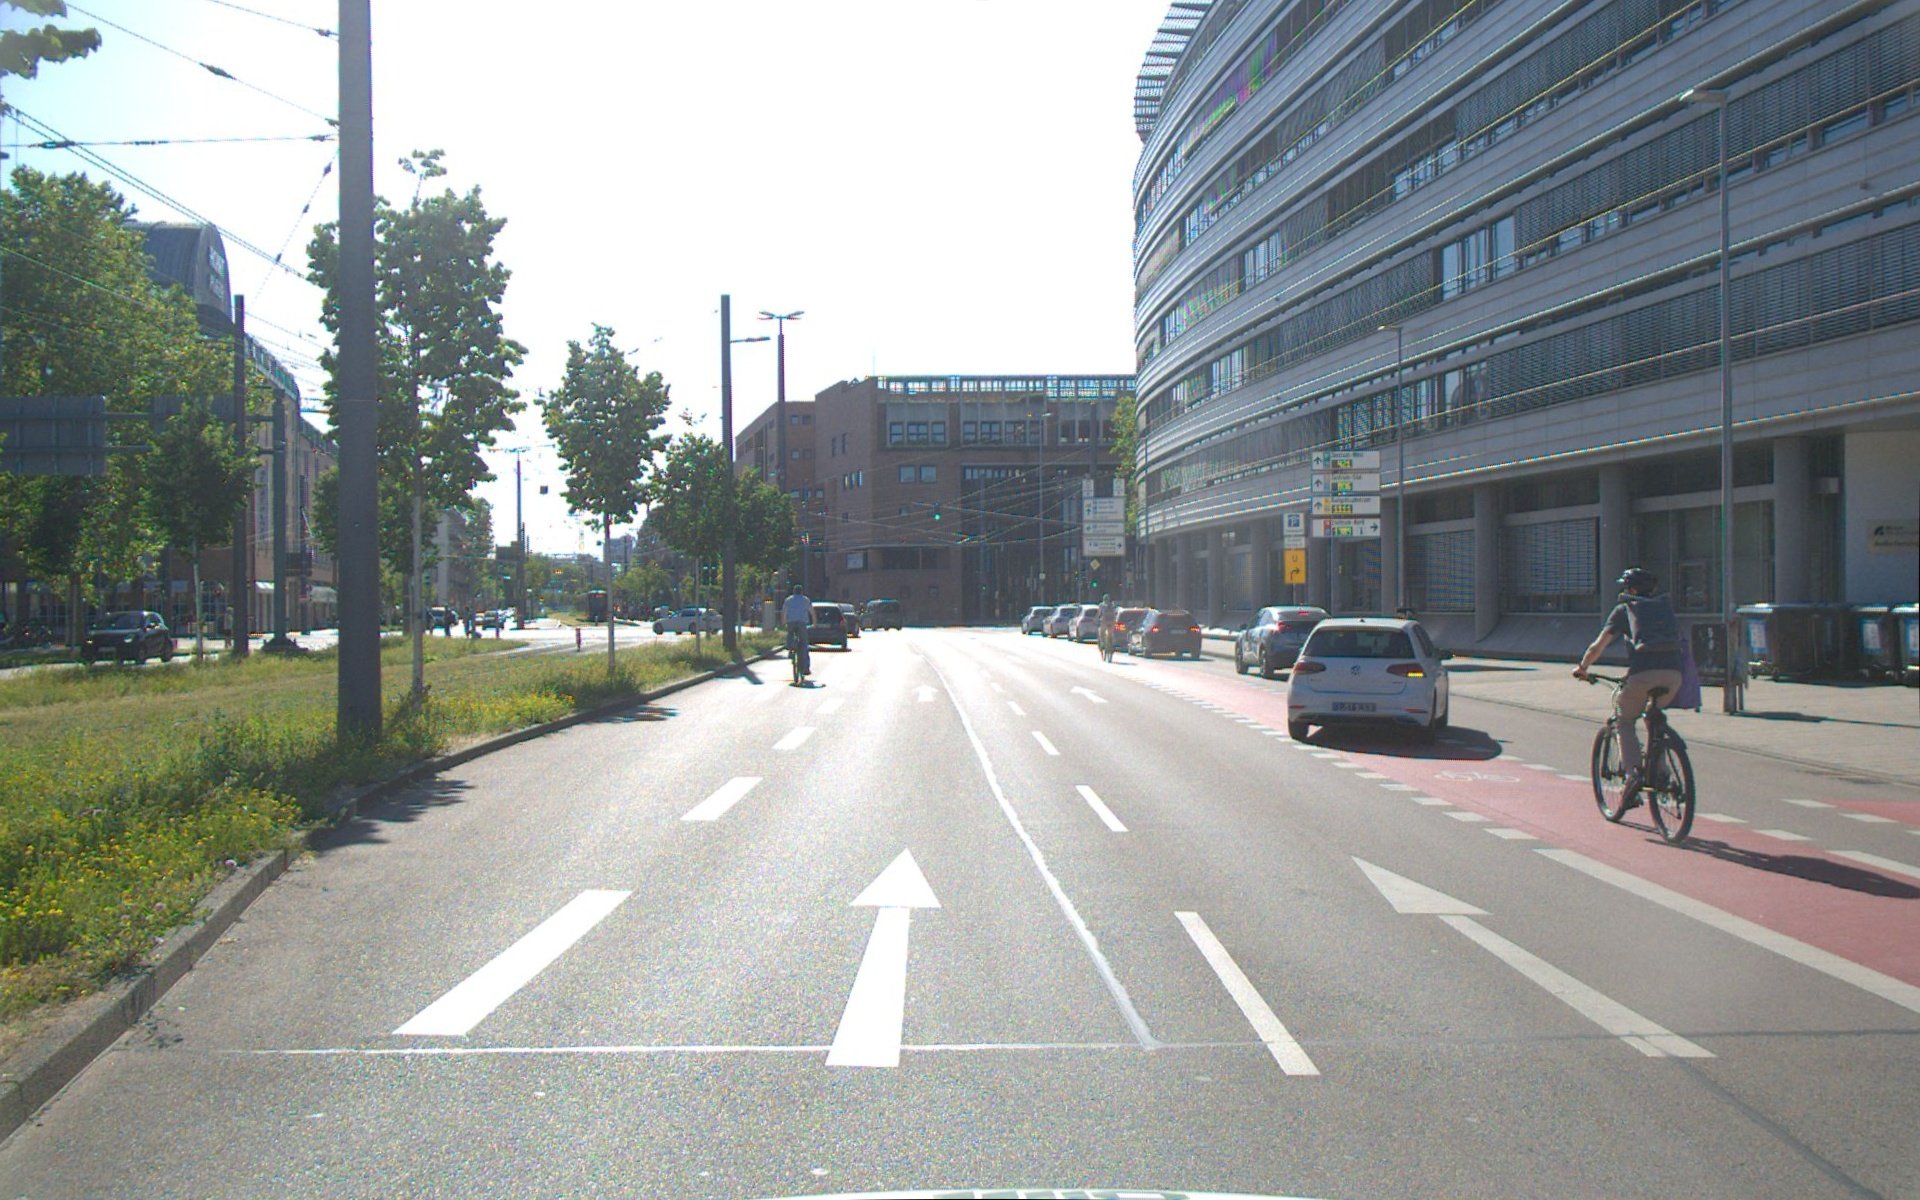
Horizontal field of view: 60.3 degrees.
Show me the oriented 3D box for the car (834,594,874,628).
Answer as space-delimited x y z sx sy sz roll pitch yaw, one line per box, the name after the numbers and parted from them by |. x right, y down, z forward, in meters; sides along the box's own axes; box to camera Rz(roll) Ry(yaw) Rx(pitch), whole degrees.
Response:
-4.840 0.483 75.341 1.693 1.474 4.516 -1 0 -5 | car

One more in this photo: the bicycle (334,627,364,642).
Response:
-56.126 3.203 151.933 2.436 1.333 0.732 -1 0 -6 | bicycle

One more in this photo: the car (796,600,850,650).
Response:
-4.526 0.808 54.725 1.692 1.591 3.674 -1 0 -4 | car

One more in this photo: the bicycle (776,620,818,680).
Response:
-3.193 0.964 32.540 0.673 1.088 2.695 1 0 -3 | bicycle

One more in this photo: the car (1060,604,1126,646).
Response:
5.470 1.020 68.677 1.870 1.611 4.130 1 0 -8 | car

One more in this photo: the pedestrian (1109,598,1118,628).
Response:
8.473 0.717 91.285 0.418 1.674 0.562 -2 1 9 | pedestrian

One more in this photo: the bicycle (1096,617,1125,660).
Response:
4.236 1.073 46.675 0.636 1.129 1.758 -1 1 -1 | bicycle

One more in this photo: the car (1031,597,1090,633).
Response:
4.608 0.652 76.118 1.871 1.568 4.130 1 0 -9 | car

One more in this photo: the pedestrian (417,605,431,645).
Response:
-24.726 1.151 76.299 0.457 1.863 0.452 0 0 -41 | pedestrian

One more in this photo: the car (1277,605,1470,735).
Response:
5.343 0.817 20.986 1.737 1.428 4.292 1 0 23 | car

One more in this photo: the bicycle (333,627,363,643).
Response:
-55.790 3.192 150.720 2.436 1.333 0.732 -1 0 -6 | bicycle

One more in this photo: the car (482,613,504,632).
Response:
-39.188 1.851 138.809 1.583 1.422 3.903 -5 1 -15 | car

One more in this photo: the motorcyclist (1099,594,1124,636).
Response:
5.791 0.558 63.290 0.812 1.588 0.941 1 -1 -4 | motorcyclist

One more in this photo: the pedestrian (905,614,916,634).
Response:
-3.986 1.959 133.060 0.608 1.590 0.982 -1 -1 -18 | pedestrian

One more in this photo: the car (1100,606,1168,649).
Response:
6.101 0.940 58.443 1.687 1.420 4.785 0 0 -3 | car

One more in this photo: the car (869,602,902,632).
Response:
-4.523 0.990 99.834 1.748 1.732 4.133 1 0 -6 | car

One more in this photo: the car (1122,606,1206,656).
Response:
6.271 0.922 51.262 1.687 1.447 4.633 -1 0 -4 | car

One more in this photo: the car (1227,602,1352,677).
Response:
7.221 0.832 36.620 1.687 1.551 4.396 0 0 -3 | car

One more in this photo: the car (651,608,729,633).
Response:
-15.950 1.205 97.561 4.319 1.405 2.061 -1 0 33 | car

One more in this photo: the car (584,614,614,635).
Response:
-32.487 2.185 148.882 2.228 1.757 3.923 -1 0 -19 | car

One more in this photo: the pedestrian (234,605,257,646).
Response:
-33.112 1.192 76.637 0.745 1.863 0.625 -1 0 5 | pedestrian

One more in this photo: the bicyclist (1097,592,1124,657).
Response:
4.234 0.675 46.572 0.636 1.783 1.045 -1 0 -1 | bicyclist

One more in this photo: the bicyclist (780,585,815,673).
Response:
-3.173 0.561 32.387 0.605 1.699 1.019 1 0 -3 | bicyclist

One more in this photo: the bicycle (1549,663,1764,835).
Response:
4.949 1.019 11.900 0.808 1.055 1.892 1 0 2 | bicycle

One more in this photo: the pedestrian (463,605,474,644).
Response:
-23.781 1.201 80.027 0.382 1.863 0.458 0 0 -35 | pedestrian

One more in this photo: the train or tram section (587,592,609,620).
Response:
-40.806 0.710 186.416 2.286 3.056 13.117 -1 0 -13 | train or tram section

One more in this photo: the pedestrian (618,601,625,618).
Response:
-33.169 0.940 162.095 0.530 1.684 0.703 -1 -1 -18 | pedestrian

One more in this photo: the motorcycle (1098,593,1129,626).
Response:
5.846 0.372 63.068 0.812 1.222 2.388 1 -1 -4 | motorcycle

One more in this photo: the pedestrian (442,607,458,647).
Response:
-23.930 1.268 77.634 0.577 1.863 0.490 0 0 -42 | pedestrian

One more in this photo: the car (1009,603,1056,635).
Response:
3.773 0.971 86.731 1.869 1.611 4.133 1 0 -6 | car

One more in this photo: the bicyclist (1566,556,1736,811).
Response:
4.911 0.569 11.814 0.790 1.722 1.051 1 0 2 | bicyclist

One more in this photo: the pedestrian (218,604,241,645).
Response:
-33.393 1.125 75.640 0.745 1.863 0.625 -1 0 2 | pedestrian

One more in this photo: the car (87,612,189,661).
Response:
-24.356 1.066 49.108 1.399 1.383 3.295 -1 0 -1 | car
